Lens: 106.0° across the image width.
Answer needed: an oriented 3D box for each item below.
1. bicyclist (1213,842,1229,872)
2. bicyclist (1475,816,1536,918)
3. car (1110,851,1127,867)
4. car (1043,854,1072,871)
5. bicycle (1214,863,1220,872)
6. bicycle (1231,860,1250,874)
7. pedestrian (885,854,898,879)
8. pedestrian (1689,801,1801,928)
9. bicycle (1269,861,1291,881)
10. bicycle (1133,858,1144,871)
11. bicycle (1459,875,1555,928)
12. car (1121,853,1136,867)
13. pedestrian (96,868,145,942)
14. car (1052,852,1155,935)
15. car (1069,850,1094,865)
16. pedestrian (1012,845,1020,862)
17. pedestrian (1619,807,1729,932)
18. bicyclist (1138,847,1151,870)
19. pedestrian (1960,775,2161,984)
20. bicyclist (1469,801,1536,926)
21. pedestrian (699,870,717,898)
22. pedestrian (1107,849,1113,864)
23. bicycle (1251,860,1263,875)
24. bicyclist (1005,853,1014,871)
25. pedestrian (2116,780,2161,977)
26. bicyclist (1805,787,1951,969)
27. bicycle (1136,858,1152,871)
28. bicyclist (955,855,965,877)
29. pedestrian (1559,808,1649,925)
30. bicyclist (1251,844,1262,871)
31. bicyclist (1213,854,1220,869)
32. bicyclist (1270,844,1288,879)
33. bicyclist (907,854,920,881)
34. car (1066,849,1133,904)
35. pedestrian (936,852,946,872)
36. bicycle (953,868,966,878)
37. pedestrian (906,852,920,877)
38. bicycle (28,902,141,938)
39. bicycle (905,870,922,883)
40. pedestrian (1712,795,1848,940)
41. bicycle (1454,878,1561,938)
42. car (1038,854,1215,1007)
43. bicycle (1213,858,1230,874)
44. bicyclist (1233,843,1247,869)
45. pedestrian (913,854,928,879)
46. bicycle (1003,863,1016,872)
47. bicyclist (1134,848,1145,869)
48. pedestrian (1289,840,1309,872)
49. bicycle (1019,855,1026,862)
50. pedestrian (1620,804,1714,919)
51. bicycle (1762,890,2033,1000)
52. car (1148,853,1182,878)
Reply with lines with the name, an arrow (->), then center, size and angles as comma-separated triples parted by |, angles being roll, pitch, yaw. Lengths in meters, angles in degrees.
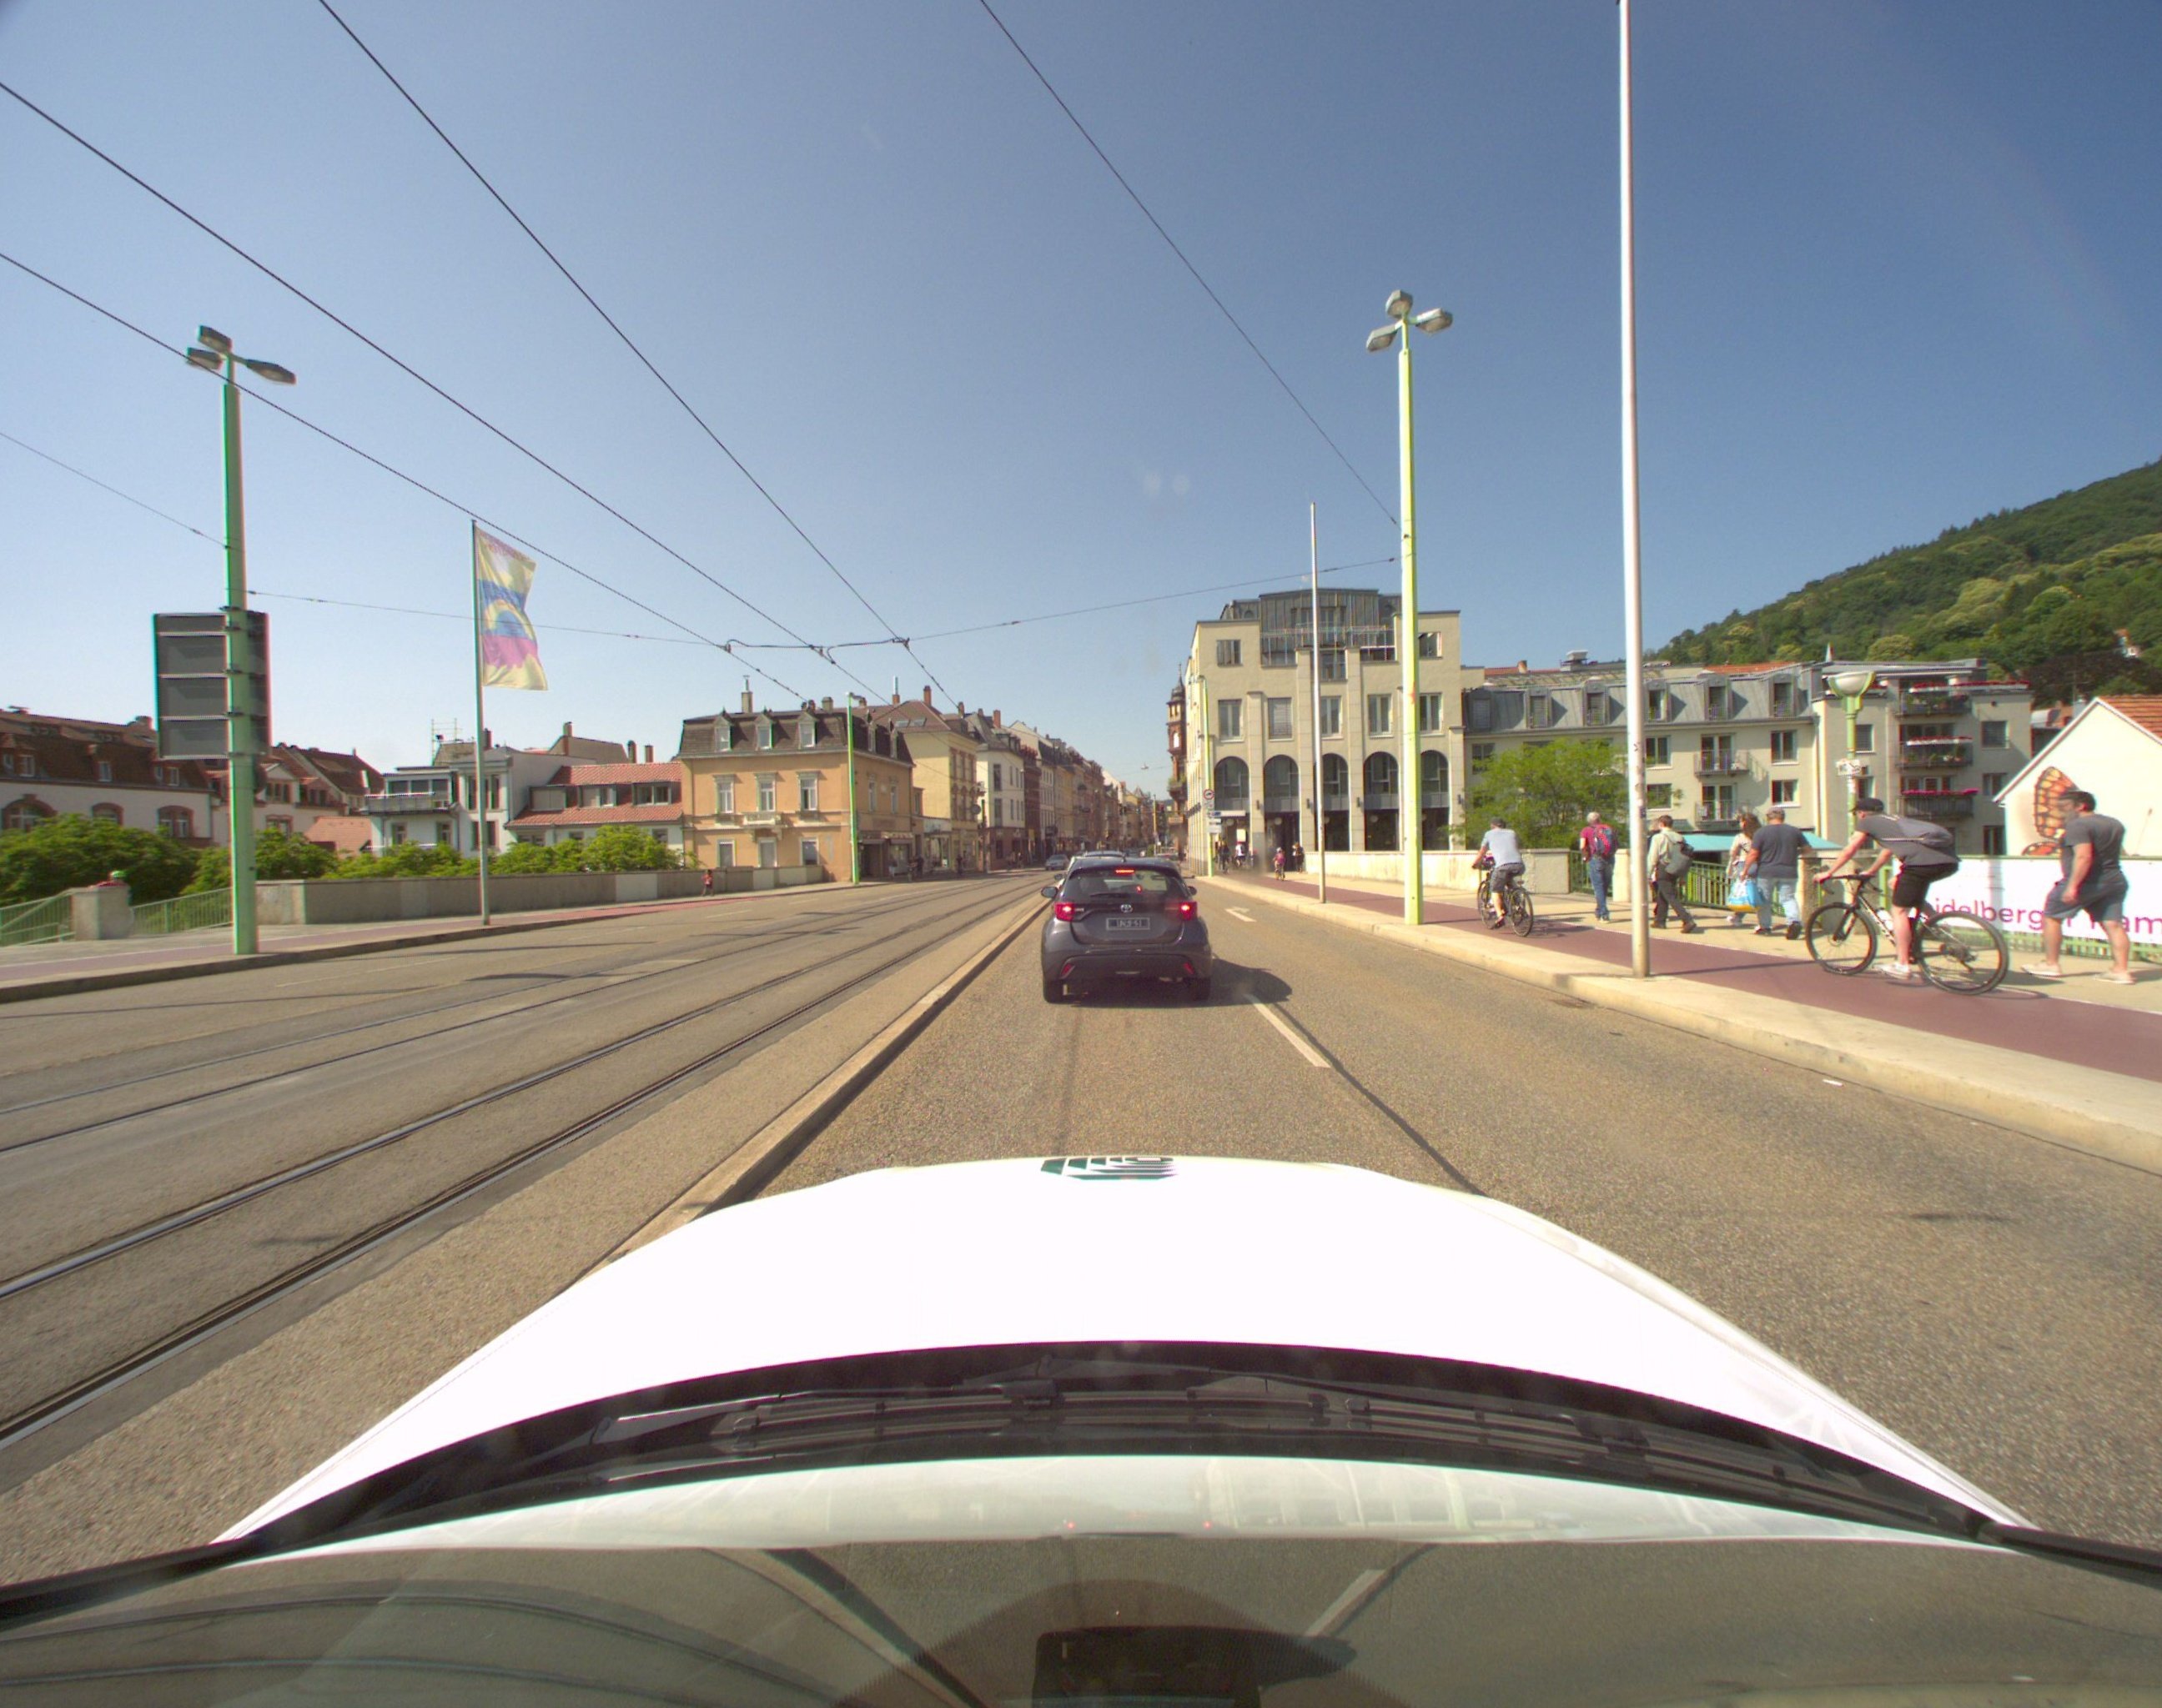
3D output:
bicyclist -> 8.188, 0.169, 47.665 | 0.699, 1.695, 0.925 | -2, 0, 2
bicyclist -> 7.117, 0.217, 13.687 | 0.585, 1.650, 0.702 | -2, 0, -1
car -> 4.882, 0.627, 105.247 | 1.983, 2.014, 4.006 | 0, -1, 6
car -> -2.162, 0.748, 75.617 | 1.720, 1.460, 4.387 | -2, 0, 11
bicycle -> 11.816, 1.145, 70.712 | 0.414, 0.765, 1.208 | -3, 0, 8
bicycle -> 8.943, 0.722, 45.677 | 0.420, 0.765, 0.951 | -3, 0, -37
pedestrian -> -12.612, 0.845, 54.329 | 0.646, 1.602, 0.566 | 3, 2, 2
pedestrian -> 9.693, 0.145, 11.927 | 0.736, 1.746, 1.016 | -3, 0, 1
bicycle -> 8.239, 0.700, 33.746 | 0.512, 0.765, 1.661 | -3, 0, 2
bicycle -> 6.973, 1.257, 98.756 | 1.108, 1.420, 3.008 | 2, 0, 2
bicycle -> 7.143, 0.767, 13.758 | 0.592, 0.765, 1.866 | -3, 0, -1
car -> 6.984, 0.835, 119.062 | 1.983, 2.014, 4.006 | 0, -1, 6
pedestrian -> -21.663, 1.141, 18.364 | 0.622, 1.632, 0.414 | 1, 0, 6
car -> 0.463, 0.722, 16.929 | 1.890, 1.530, 4.001 | 0, 0, 1
car -> 0.108, 0.343, 90.169 | 1.981, 1.586, 4.665 | -2, 0, 10
pedestrian -> -6.879, -0.046, 86.416 | 0.733, 1.766, 0.787 | -1, 1, 2
pedestrian -> 8.637, 0.215, 11.914 | 0.752, 1.718, 1.073 | -3, 0, 1
bicyclist -> 7.114, 0.517, 91.501 | 1.226, 2.529, 1.102 | 3, 0, -6
pedestrian -> 8.872, 0.207, 7.331 | 0.736, 1.718, 1.016 | -3, 0, 1
bicyclist -> 6.384, 0.135, 12.361 | 0.585, 1.820, 0.702 | -2, 0, -1
pedestrian -> -15.834, 1.257, 34.551 | 0.409, 1.146, 0.546 | 3, 0, 9
pedestrian -> 4.977, 0.370, 140.072 | 1.047, 2.588, 1.502 | 2, 0, 2
bicycle -> 9.447, 0.737, 43.778 | 0.415, 0.765, 0.962 | -3, 0, 2
bicyclist -> -6.570, 0.726, 75.076 | 0.623, 1.650, 0.623 | 0, 1, 10
pedestrian -> 9.751, 0.201, 6.852 | 0.736, 1.718, 1.016 | -2, 0, 1
bicyclist -> 7.245, 0.210, 7.433 | 0.585, 1.559, 0.702 | -2, 0, -1
bicycle -> 7.079, 1.151, 91.408 | 1.111, 1.420, 2.999 | 2, 0, -8
bicyclist -> -8.959, 0.874, 60.111 | 0.625, 1.650, 0.622 | 0, 1, 2
pedestrian -> 8.529, 0.191, 13.319 | 0.736, 1.802, 1.016 | -3, 0, 1
bicyclist -> 9.412, 0.193, 43.774 | 0.420, 1.383, 0.443 | -3, 0, 1
bicyclist -> 11.795, 0.649, 70.743 | 0.535, 1.316, 0.673 | -2, 0, 7
bicyclist -> 8.211, 0.304, 33.806 | 0.532, 1.383, 0.669 | -3, 0, 1
bicyclist -> -10.424, 0.851, 50.643 | 0.625, 1.650, 0.622 | 0, 1, 2
car -> 0.576, 0.636, 25.000 | 1.890, 1.530, 4.001 | 0, 0, 1
pedestrian -> -11.531, 0.647, 67.218 | 0.646, 1.602, 0.566 | 3, 2, 2
bicycle -> -8.961, 1.399, 60.136 | 0.618, 0.716, 1.732 | 0, 1, 2
pedestrian -> -12.081, 0.737, 58.715 | 0.733, 1.766, 0.787 | 3, 0, 2
bicycle -> -22.019, 1.445, 18.004 | 1.917, 0.716, 0.623 | 0, 1, 6
bicycle -> -10.425, 1.395, 50.676 | 0.618, 0.716, 1.772 | 0, 1, 2
pedestrian -> 9.168, 0.177, 10.752 | 0.968, 1.777, 1.214 | -3, 0, 23
bicycle -> 6.420, 0.788, 12.367 | 0.592, 0.765, 1.866 | -3, 0, -1
car -> 0.487, 0.744, 9.722 | 1.713, 1.473, 3.659 | 0, 0, 1
bicycle -> 8.210, 0.689, 47.629 | 0.701, 0.882, 1.526 | -2, 0, 2
bicyclist -> 8.917, 0.113, 45.667 | 0.487, 1.466, 0.438 | -3, 0, -38
pedestrian -> -11.144, 0.876, 56.524 | 0.757, 1.654, 0.713 | 3, 0, 9
bicycle -> -6.588, 1.237, 75.016 | 0.616, 0.716, 2.051 | 0, 1, 11
bicyclist -> 7.061, 0.537, 98.568 | 1.224, 2.529, 1.105 | 3, 0, 1
pedestrian -> 11.305, 0.122, 42.258 | 0.736, 1.615, 1.016 | 3, 0, 1
bicycle -> -6.193, 0.475, 86.170 | 0.618, 0.716, 1.772 | -1, 1, 2
pedestrian -> 9.606, 0.124, 13.383 | 0.736, 1.777, 1.016 | -3, 0, 1
bicycle -> 7.275, 0.767, 7.405 | 0.592, 0.765, 1.830 | -3, 0, -1
car -> 4.981, 0.657, 48.877 | 1.699, 1.466, 4.327 | 0, 0, 1
